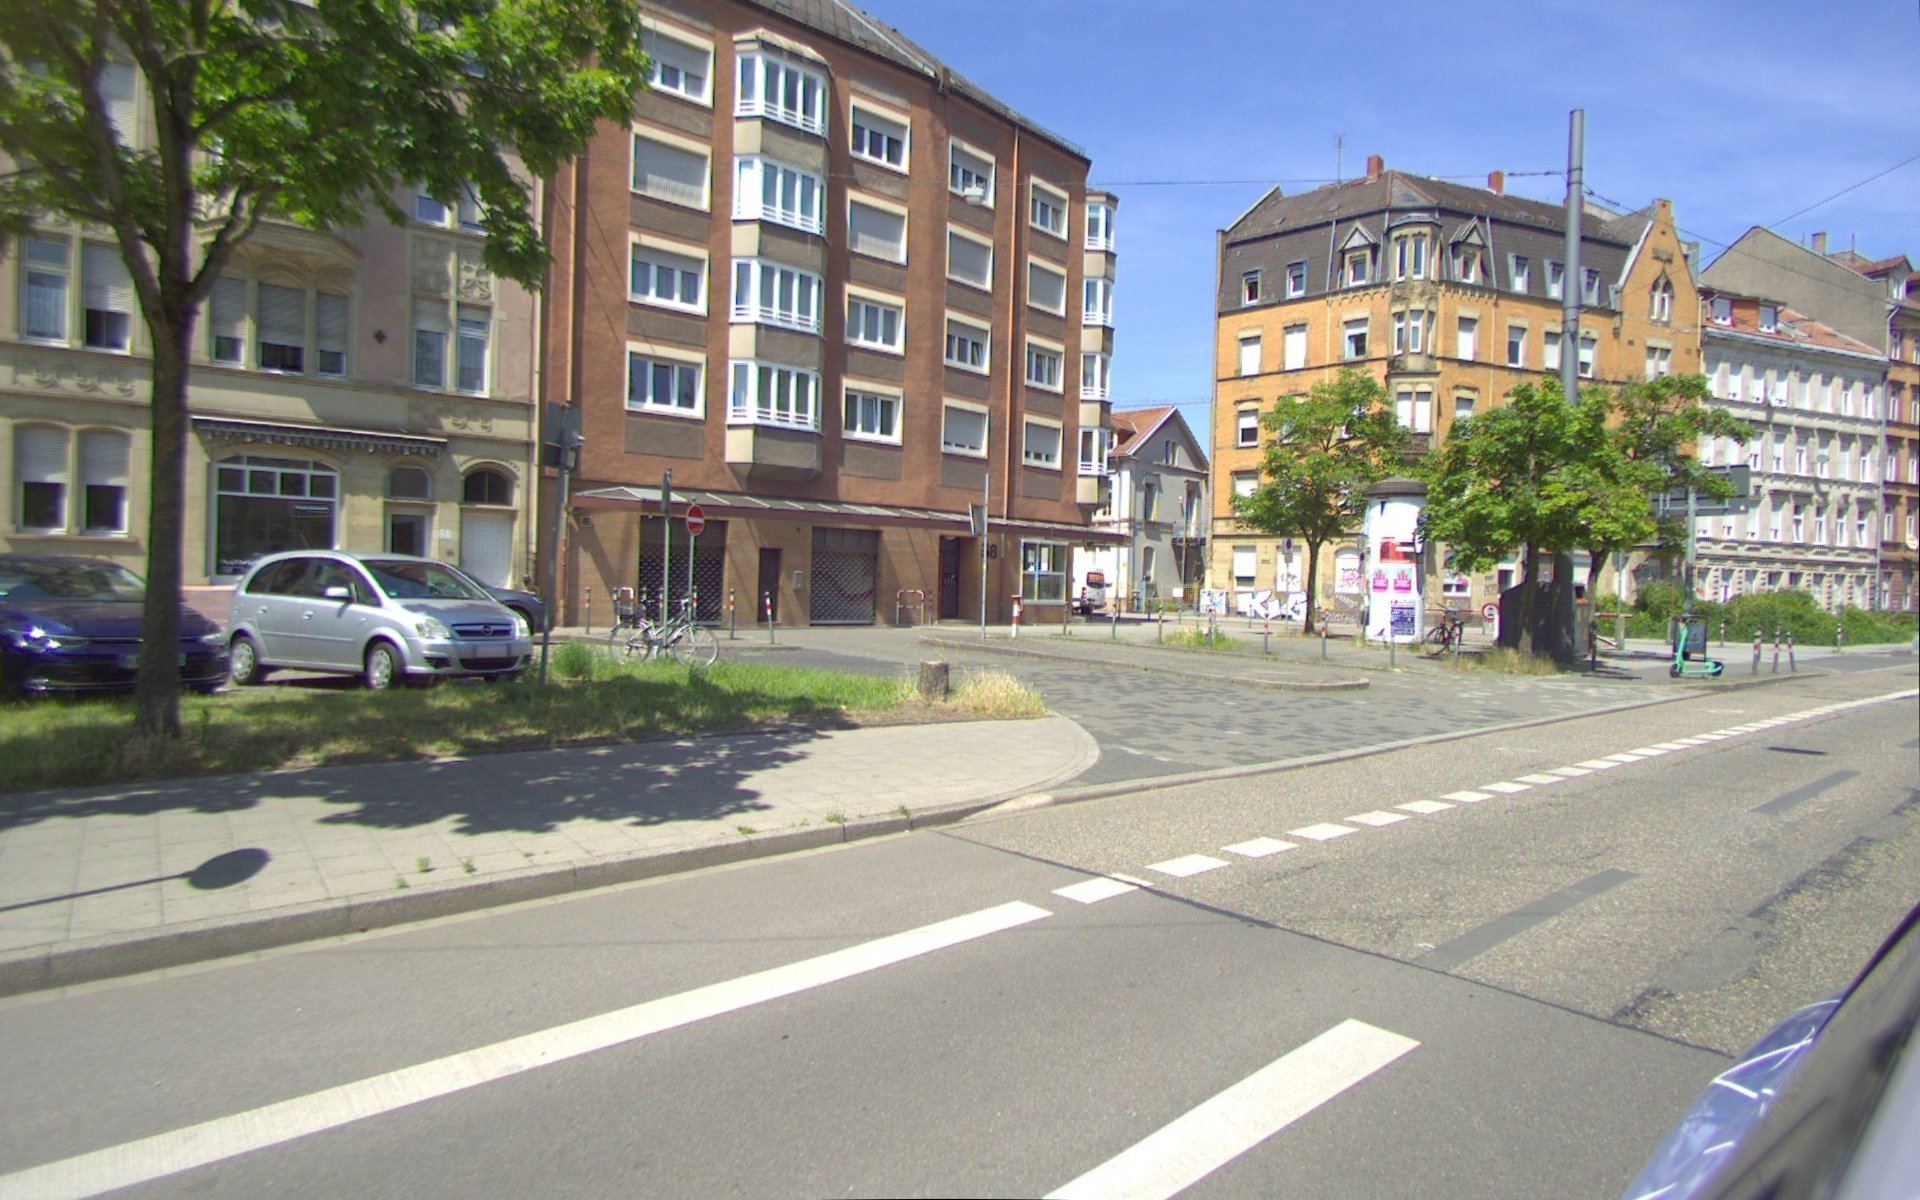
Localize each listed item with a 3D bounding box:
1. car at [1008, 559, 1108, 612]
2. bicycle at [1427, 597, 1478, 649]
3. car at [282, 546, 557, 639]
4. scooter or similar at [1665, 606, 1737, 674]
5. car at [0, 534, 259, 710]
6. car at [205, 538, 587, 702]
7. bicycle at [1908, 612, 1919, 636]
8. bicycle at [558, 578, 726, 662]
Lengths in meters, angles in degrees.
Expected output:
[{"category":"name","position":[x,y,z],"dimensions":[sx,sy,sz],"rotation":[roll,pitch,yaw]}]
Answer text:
[{"category":"car","position":[5.097,-0.784,53.396],"dimensions":[1.967,2.655,5.205],"rotation":[1,0,-44]},{"category":"bicycle","position":[11.473,0.517,23.565],"dimensions":[1.680,1.167,0.486],"rotation":[1,0,-43]},{"category":"car","position":[-10.444,-0.124,19.709],"dimensions":[4.509,1.620,2.001],"rotation":[1,0,-33]},{"category":"scooter or similar","position":[14.427,0.785,19.704],"dimensions":[1.154,1.228,0.393],"rotation":[4,3,-16]},{"category":"car","position":[-8.890,0.142,9.913],"dimensions":[3.965,1.417,1.805],"rotation":[1,0,30]},{"category":"car","position":[-6.773,0.162,12.083],"dimensions":[4.373,1.652,1.980],"rotation":[1,0,29]},{"category":"bicycle","position":[47.992,1.198,49.804],"dimensions":[0.483,1.195,1.921],"rotation":[1,0,-35]},{"category":"bicycle","position":[-4.728,0.292,15.189],"dimensions":[2.312,1.208,0.742],"rotation":[1,0,-8]}]
